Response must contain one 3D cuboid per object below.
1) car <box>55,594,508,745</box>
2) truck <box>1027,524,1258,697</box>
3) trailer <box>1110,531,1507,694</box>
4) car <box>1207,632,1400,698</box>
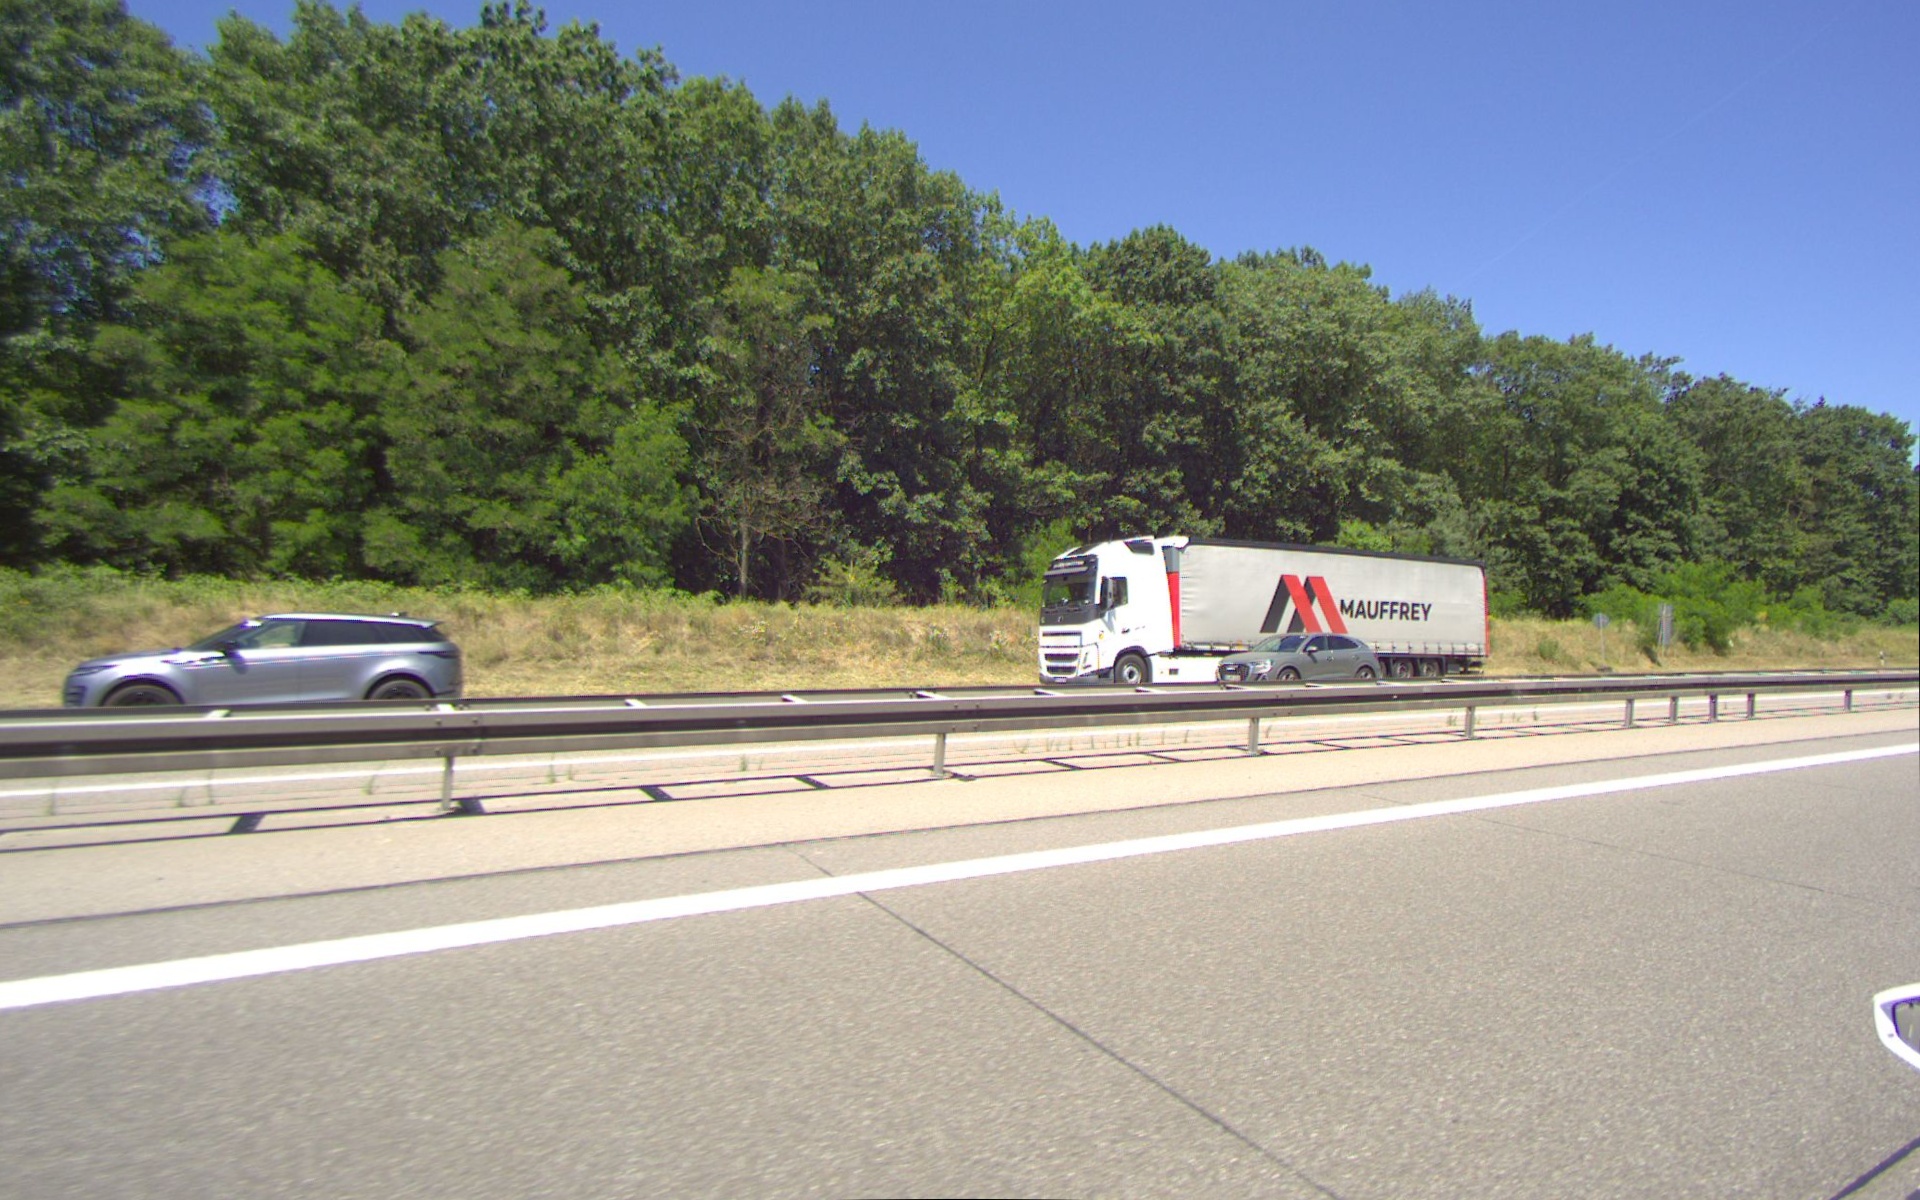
[{"bbox_3d":[-8.697,0.900,13.392,4.668,1.702,1.880,2,-4,-32],"label":"car"},{"bbox_3d":[4.901,0.393,26.893,5.609,4.172,2.799,1,-4,-30],"label":"truck"},{"bbox_3d":[11.088,0.562,30.612,14.381,4.172,2.799,2,-4,-31],"label":"trailer"},{"bbox_3d":[8.273,1.544,24.103,4.529,1.452,1.880,2,-4,-31],"label":"car"}]
